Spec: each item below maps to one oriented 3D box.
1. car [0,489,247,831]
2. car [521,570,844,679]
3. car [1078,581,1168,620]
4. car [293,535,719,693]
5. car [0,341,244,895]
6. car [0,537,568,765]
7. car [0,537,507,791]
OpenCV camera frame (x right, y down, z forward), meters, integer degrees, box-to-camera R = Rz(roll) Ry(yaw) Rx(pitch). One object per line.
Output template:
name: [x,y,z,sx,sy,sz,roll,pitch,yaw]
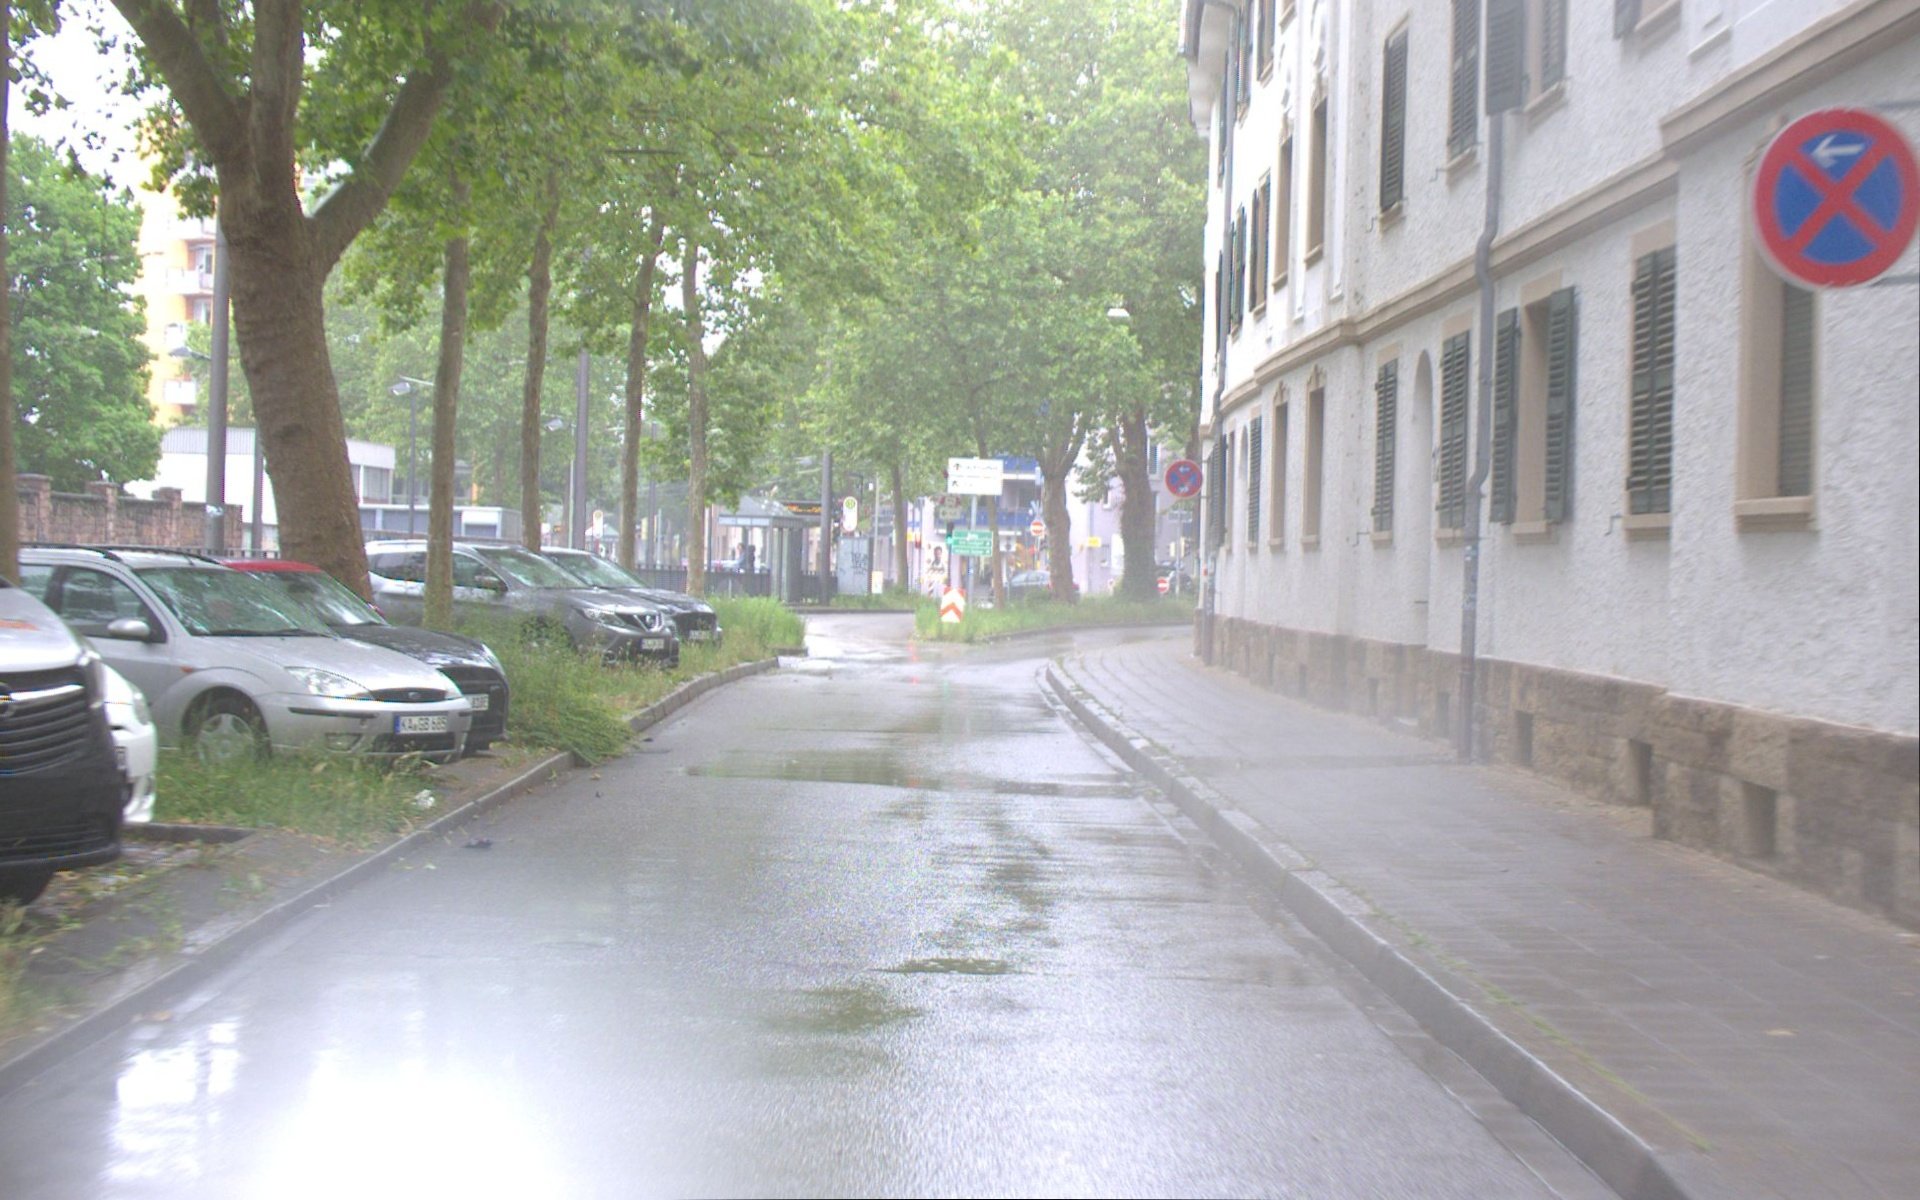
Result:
car: [-5.428,0.247,16.375,3.780,1.477,1.719,1,-1,30]
car: [-4.040,0.325,49.917,4.358,1.507,1.957,0,1,31]
car: [7.887,0.050,166.105,3.988,1.592,1.999,5,-1,-43]
car: [-5.212,0.152,39.415,4.465,1.591,1.920,2,0,26]
car: [-5.532,0.039,13.692,5.124,1.971,2.099,1,-1,30]
car: [-4.874,0.336,24.625,3.812,1.516,1.719,1,-1,30]
car: [-5.277,0.364,21.985,4.553,1.477,1.772,1,-1,30]
